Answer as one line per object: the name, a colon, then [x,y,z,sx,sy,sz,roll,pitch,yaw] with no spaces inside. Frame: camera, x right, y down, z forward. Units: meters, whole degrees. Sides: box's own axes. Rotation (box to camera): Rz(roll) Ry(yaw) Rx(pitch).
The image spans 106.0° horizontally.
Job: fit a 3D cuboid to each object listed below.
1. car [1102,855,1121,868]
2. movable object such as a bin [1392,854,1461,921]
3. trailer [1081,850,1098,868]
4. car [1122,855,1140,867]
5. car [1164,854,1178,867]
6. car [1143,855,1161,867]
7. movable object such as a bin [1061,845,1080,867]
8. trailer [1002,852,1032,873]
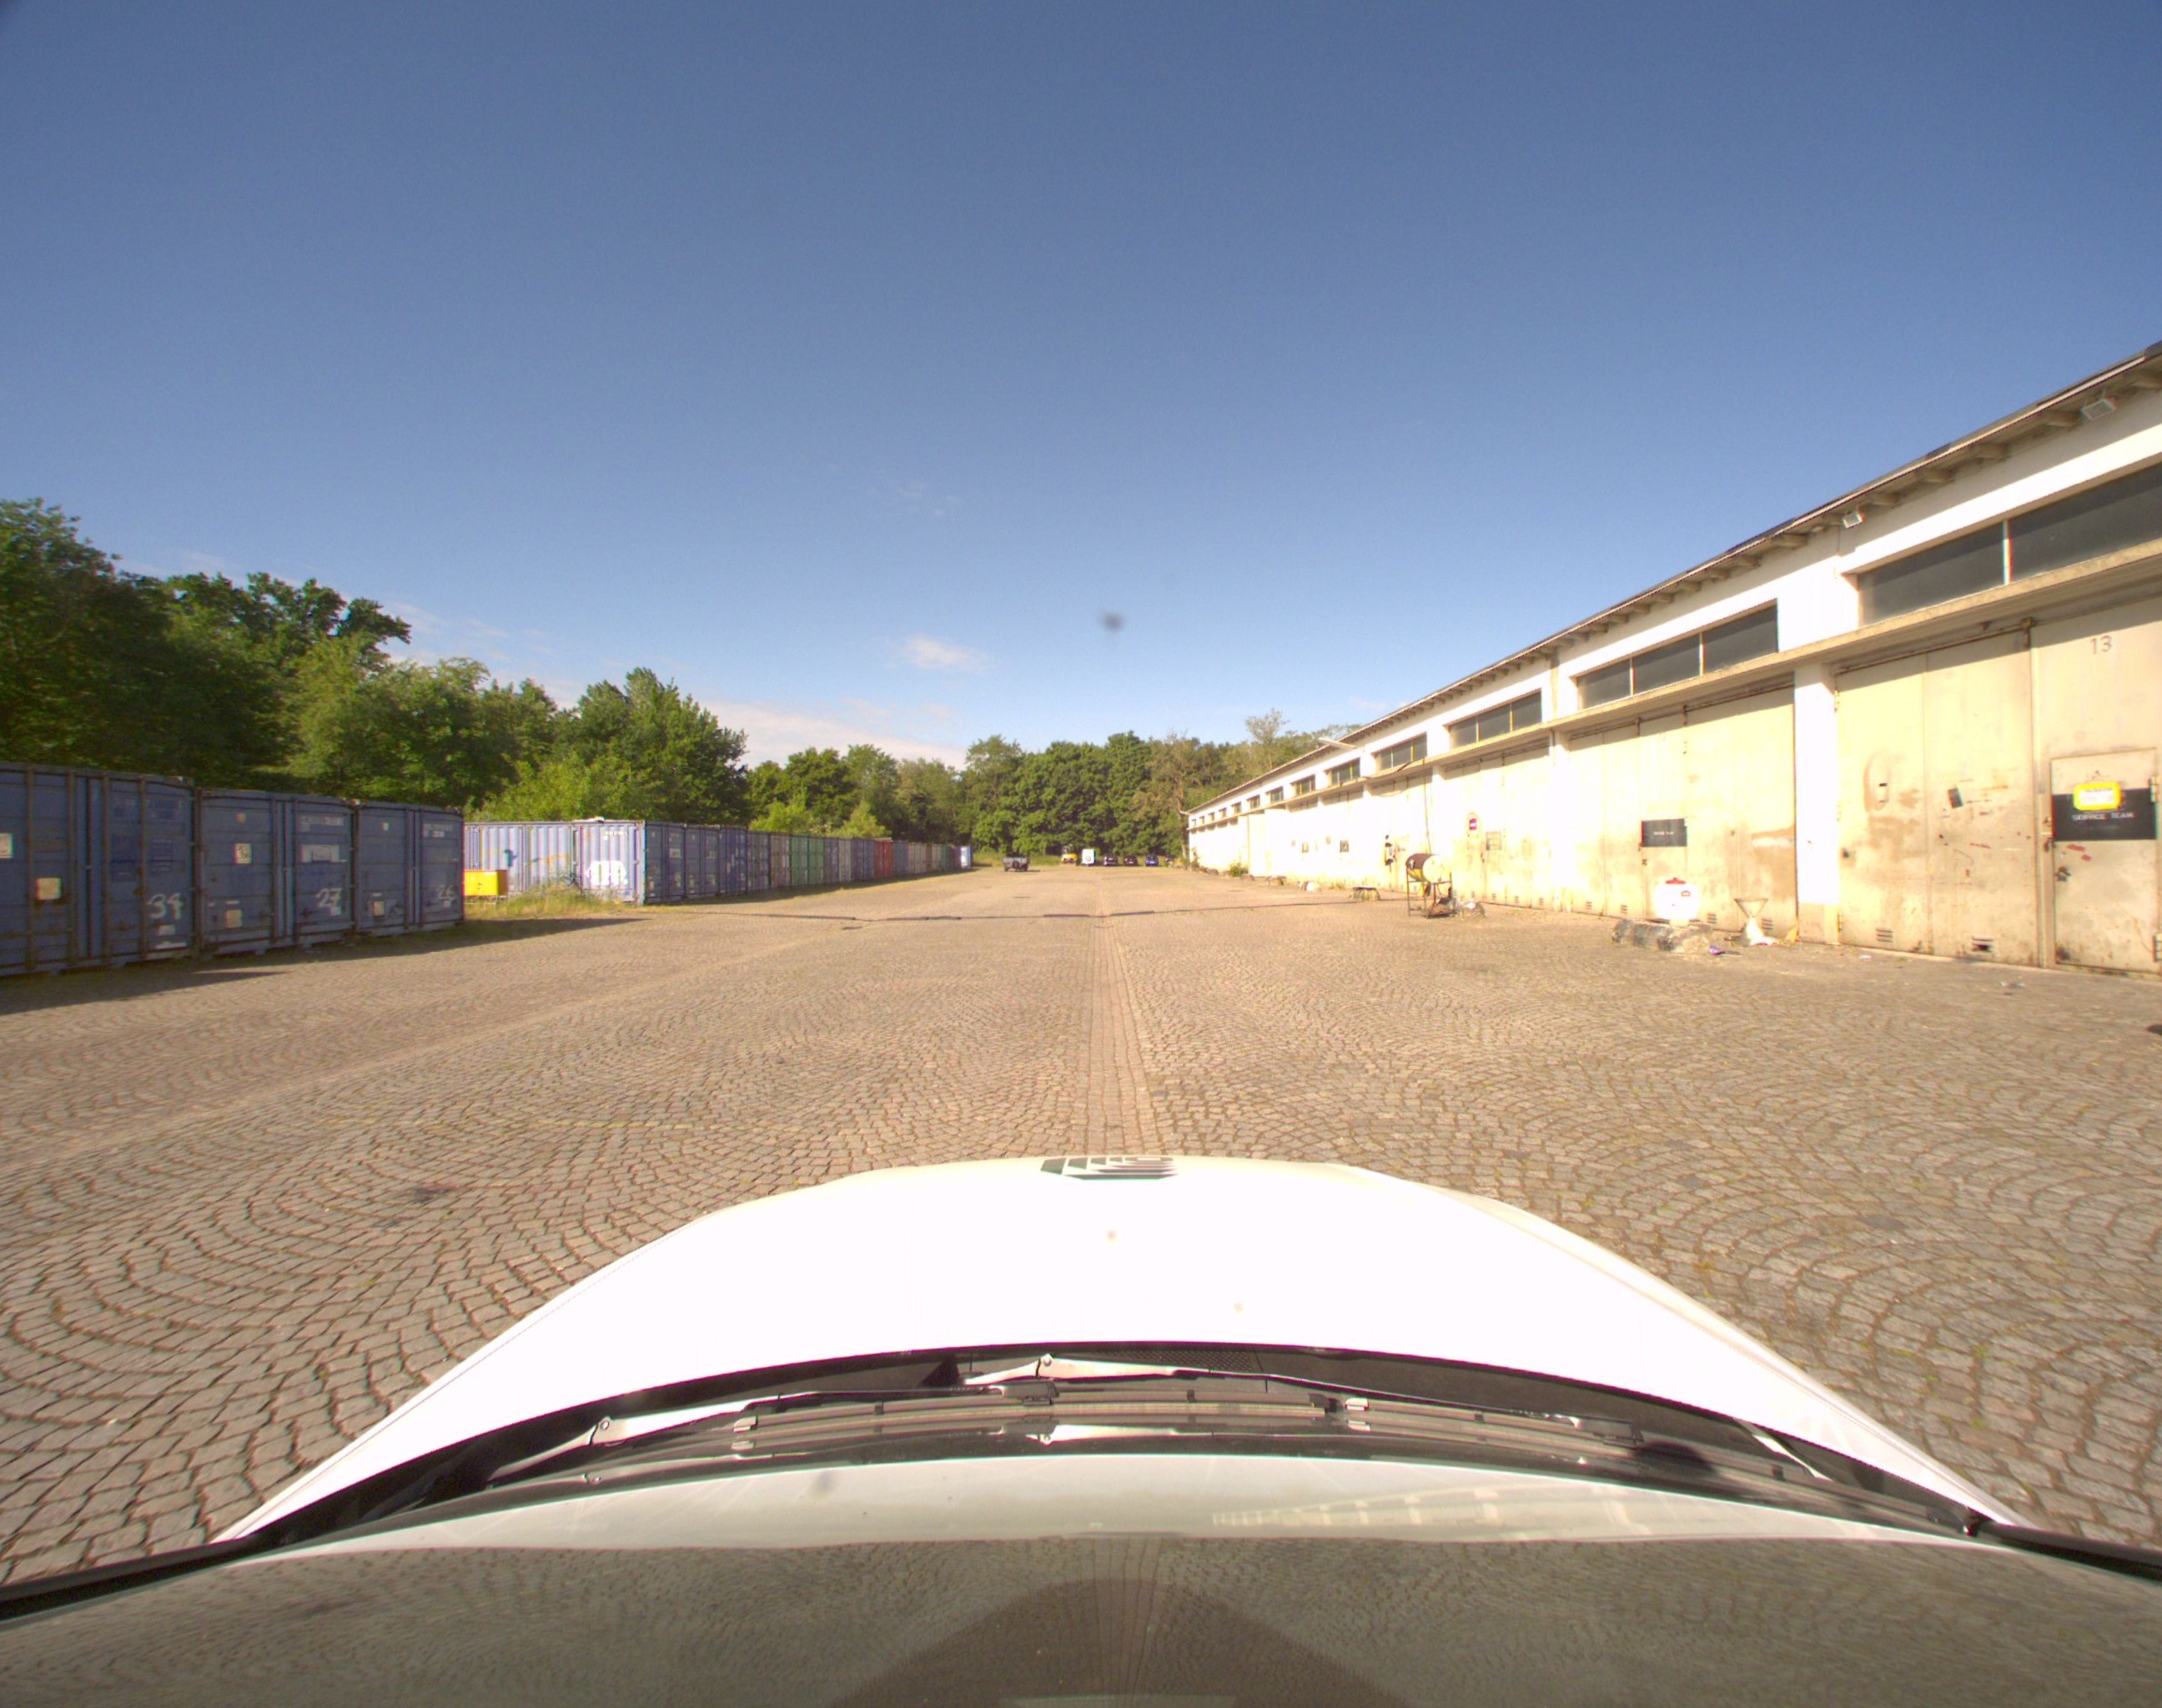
car: [3.785,0.889,100.474,1.851,1.585,4.009,-1,0,8]
movable object such as a bin: [7.210,0.669,17.040,0.822,1.331,1.278,-1,0,-4]
trailer: [1.097,0.614,102.187,1.785,2.090,3.977,-1,0,5]
car: [6.189,0.882,100.655,1.982,1.463,4.009,-1,0,8]
car: [11.279,0.798,101.862,1.676,1.563,4.009,-1,0,8]
car: [8.814,0.867,100.642,1.982,1.420,4.009,-1,0,8]
movable object such as a bin: [-1.292,0.243,102.479,1.984,2.618,4.006,1,0,5]
trailer: [-6.514,0.872,83.179,2.397,2.013,4.176,1,0,3]
